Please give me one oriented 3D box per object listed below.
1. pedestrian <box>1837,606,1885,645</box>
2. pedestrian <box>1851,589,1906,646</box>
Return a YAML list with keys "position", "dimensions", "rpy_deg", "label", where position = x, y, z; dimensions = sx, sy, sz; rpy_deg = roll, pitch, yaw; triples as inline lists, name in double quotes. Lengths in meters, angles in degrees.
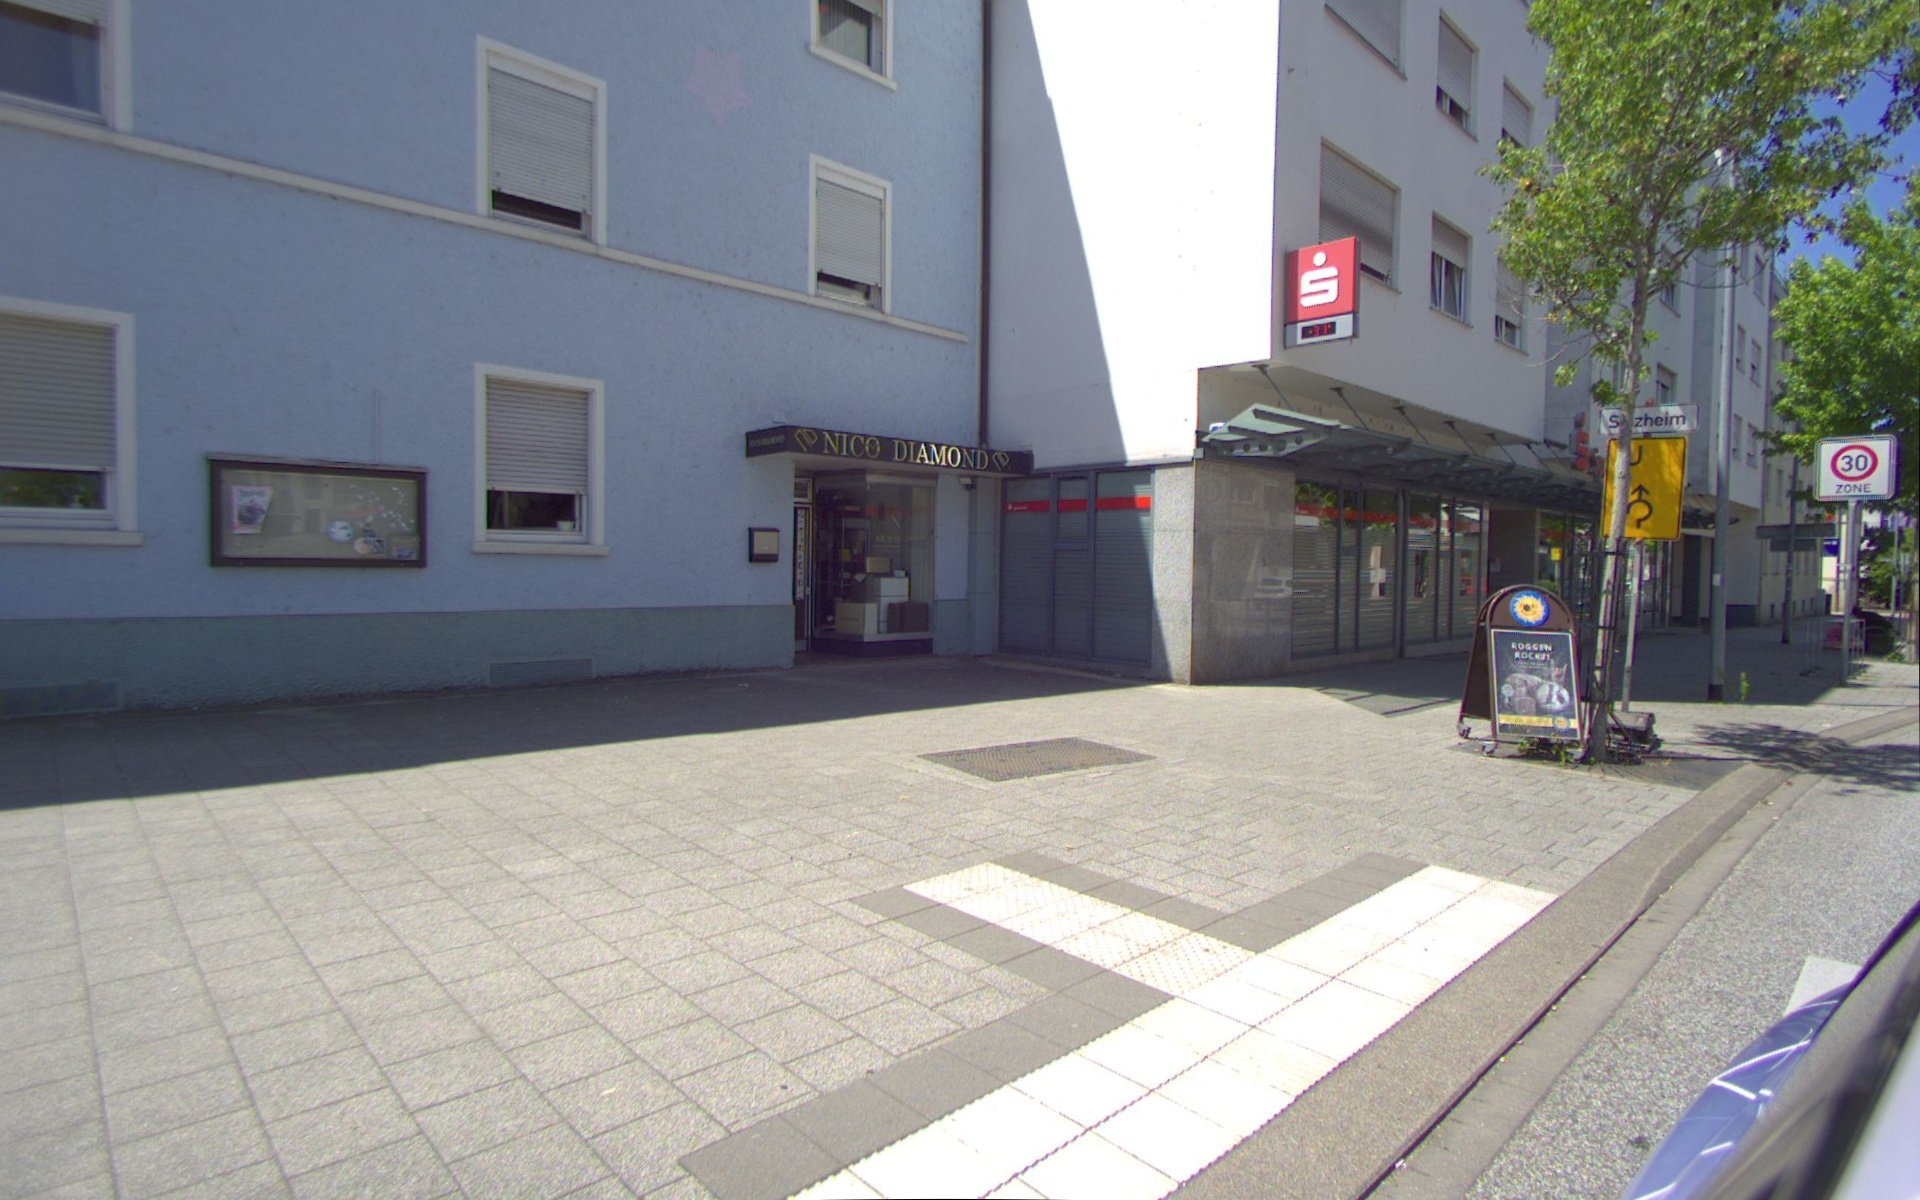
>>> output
- position: [21.401, 0.605, 24.051]
  dimensions: [0.527, 0.862, 0.681]
  rpy_deg: [0, 3, -29]
  label: "pedestrian"
- position: [21.211, 0.402, 23.381]
  dimensions: [0.527, 1.255, 0.764]
  rpy_deg: [0, 2, -29]
  label: "pedestrian"
